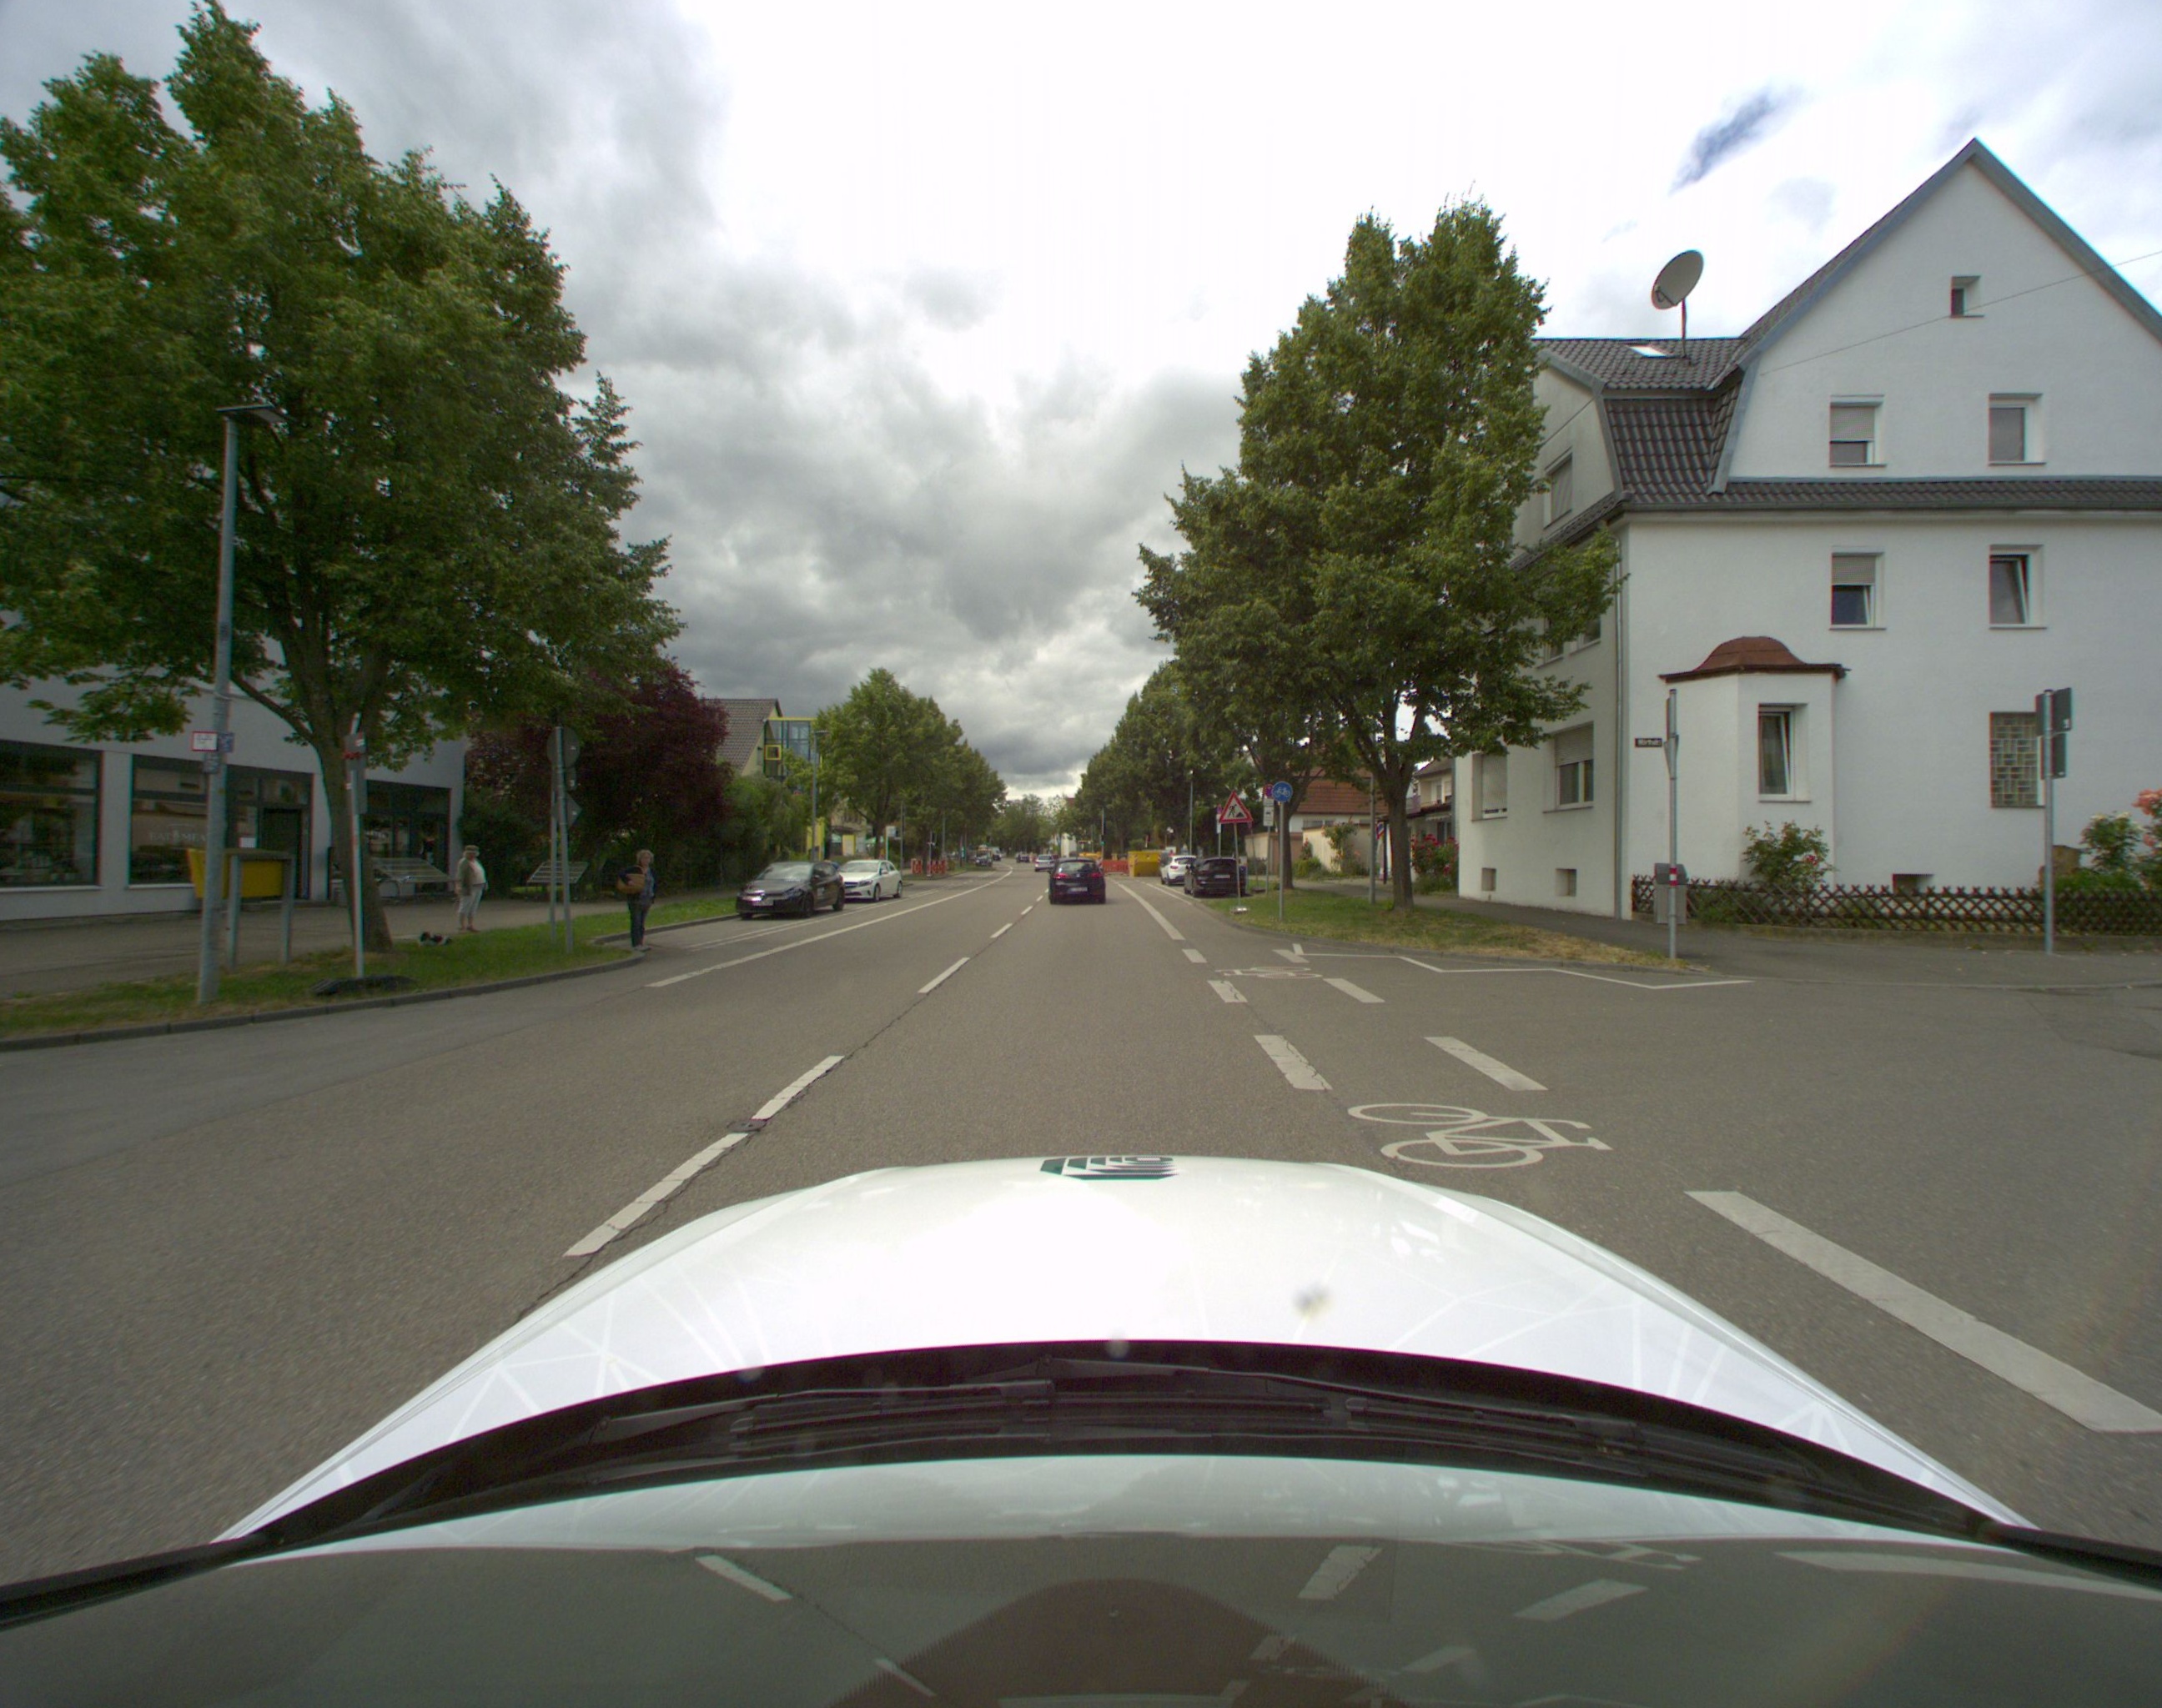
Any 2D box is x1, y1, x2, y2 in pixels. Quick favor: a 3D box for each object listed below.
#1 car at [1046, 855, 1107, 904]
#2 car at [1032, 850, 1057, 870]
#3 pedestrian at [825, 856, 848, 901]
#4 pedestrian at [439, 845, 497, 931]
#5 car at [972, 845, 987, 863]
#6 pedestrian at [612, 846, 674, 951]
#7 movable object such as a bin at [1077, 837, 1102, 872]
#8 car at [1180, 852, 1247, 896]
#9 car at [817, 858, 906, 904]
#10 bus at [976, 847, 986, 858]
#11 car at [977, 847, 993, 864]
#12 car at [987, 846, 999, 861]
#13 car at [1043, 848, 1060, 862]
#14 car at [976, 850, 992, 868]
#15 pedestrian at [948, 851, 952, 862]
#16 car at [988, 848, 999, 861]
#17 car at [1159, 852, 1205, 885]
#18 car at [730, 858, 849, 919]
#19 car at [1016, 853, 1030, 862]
[{"bbox_3d":[-0.148,0.768,26.292,1.813,1.437,3.738,-1,0,-1],"label":"car"},{"bbox_3d":[-3.141,0.530,70.838,1.899,1.685,3.741,-1,0,1],"label":"car"},{"bbox_3d":[-8.470,0.853,28.222,0.586,1.529,0.692,0,0,-34],"label":"pedestrian"},{"bbox_3d":[-11.260,0.609,14.980,0.428,1.551,0.806,0,0,2],"label":"pedestrian"},{"bbox_3d":[-15.007,-0.061,120.725,2.090,2.626,5.033,0,0,-7],"label":"car"},{"bbox_3d":[-7.313,0.718,13.617,0.539,1.681,0.752,1,1,10],"label":"pedestrian"},{"bbox_3d":[0.607,0.024,61.204,1.763,2.574,3.738,0,0,-1],"label":"movable object such as a bin"},{"bbox_3d":[4.687,0.657,29.399,1.700,1.454,4.616,-1,0,1],"label":"car"},{"bbox_3d":[-7.503,0.877,28.309,1.707,1.406,4.304,-1,0,3],"label":"car"},{"bbox_3d":[-20.527,-0.346,167.208,1.992,2.123,7.339,0,0,-8],"label":"bus"},{"bbox_3d":[-13.002,0.178,110.646,2.090,2.175,5.033,0,0,-7],"label":"car"},{"bbox_3d":[-17.534,-0.151,163.216,2.285,2.792,7.128,-1,0,-6],"label":"car"},{"bbox_3d":[-3.734,0.126,101.312,1.789,1.623,3.731,-1,0,-7],"label":"car"},{"bbox_3d":[-10.496,0.518,88.408,1.665,1.772,4.458,-1,0,-6],"label":"car"},{"bbox_3d":[-20.009,0.369,124.514,0.595,1.741,0.573,0,0,-7],"label":"pedestrian"},{"bbox_3d":[-16.809,0.141,157.116,2.026,2.385,5.251,-1,0,-6],"label":"car"},{"bbox_3d":[4.807,0.651,39.147,1.667,1.462,3.998,0,0,-1],"label":"car"},{"bbox_3d":[-7.610,0.848,21.663,1.637,1.420,4.020,-1,0,1],"label":"car"},{"bbox_3d":[-9.339,0.582,130.877,1.811,1.375,3.678,0,0,-12],"label":"car"}]
